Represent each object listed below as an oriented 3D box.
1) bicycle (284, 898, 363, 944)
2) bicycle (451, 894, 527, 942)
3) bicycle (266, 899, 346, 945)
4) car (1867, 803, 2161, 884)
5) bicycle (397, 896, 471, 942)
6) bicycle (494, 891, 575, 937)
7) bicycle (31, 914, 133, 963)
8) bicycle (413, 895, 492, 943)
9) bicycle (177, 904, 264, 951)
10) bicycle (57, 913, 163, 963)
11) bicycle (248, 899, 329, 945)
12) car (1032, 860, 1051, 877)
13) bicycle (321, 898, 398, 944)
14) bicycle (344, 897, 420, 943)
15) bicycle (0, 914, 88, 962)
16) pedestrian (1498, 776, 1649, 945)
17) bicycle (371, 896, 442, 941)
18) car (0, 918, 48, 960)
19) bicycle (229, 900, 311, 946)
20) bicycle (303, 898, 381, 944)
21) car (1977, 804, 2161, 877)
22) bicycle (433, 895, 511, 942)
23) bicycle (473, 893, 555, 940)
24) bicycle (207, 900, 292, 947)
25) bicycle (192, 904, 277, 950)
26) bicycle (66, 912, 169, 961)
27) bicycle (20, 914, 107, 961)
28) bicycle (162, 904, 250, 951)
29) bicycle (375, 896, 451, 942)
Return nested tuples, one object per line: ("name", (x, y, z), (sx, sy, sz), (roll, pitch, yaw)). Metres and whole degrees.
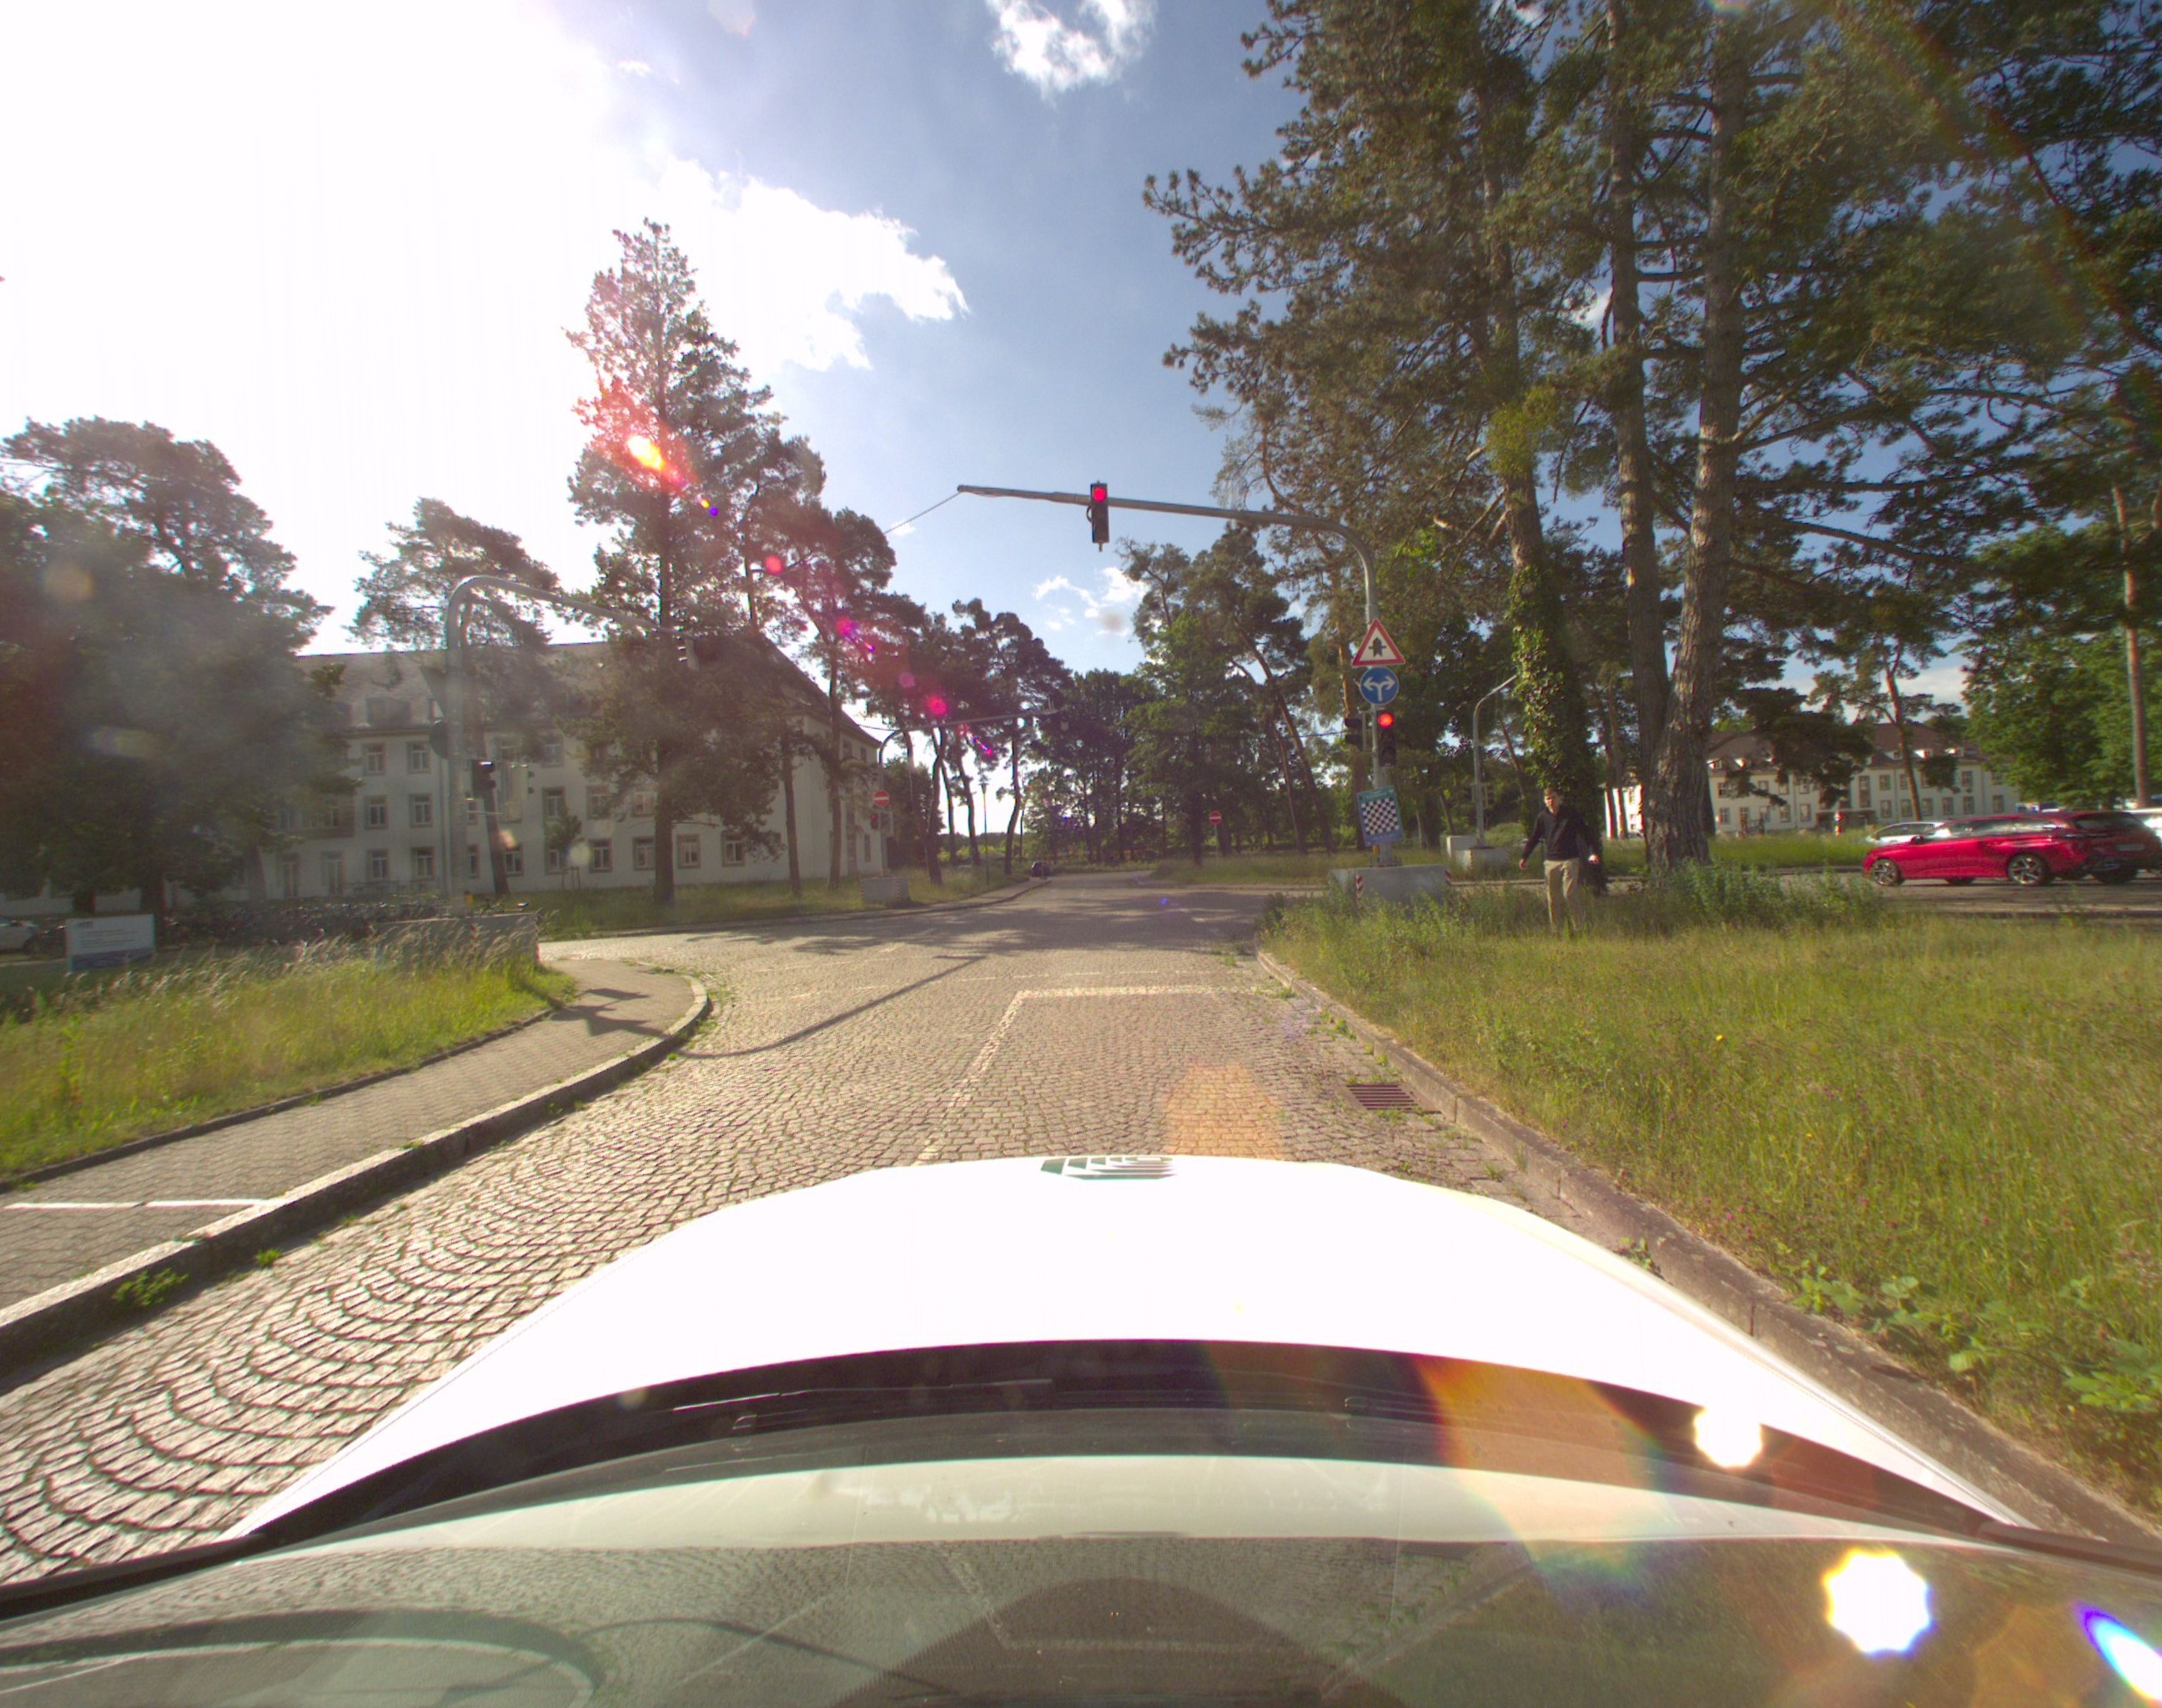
("bicycle", (-23.006, 2.025, 24.792), (0.512, 1.220, 1.954), (-3, 0, 1))
("bicycle", (-17.550, 1.871, 24.200), (0.631, 1.220, 2.114), (-3, 0, 1))
("bicycle", (-23.560, 2.041, 24.805), (0.512, 1.220, 1.937), (-3, 0, 1))
("car", (18.794, -0.152, 16.558), (1.649, 1.399, 4.130), (-2, -1, 1))
("bicycle", (-19.486, 1.929, 24.590), (0.570, 1.220, 1.990), (-3, 0, 1))
("bicycle", (-16.193, 1.766, 24.150), (1.938, 1.220, 0.635), (-3, 0, 0))
("bicycle", (-29.112, 2.439, 23.763), (0.509, 1.220, 1.841), (-3, 0, 38))
("bicycle", (-18.638, 1.903, 24.201), (0.631, 1.220, 2.104), (-3, 0, 1))
("bicycle", (-26.197, 2.209, 24.844), (0.512, 1.220, 1.937), (-3, 0, 1))
("bicycle", (-27.613, 2.360, 23.194), (1.837, 1.220, 0.510), (-3, 0, -35))
("bicycle", (-24.106, 2.057, 24.829), (0.512, 1.220, 1.937), (-3, 0, 1))
("car", (-3.917, 1.419, 80.668), (1.705, 1.496, 3.917), (-3, 0, -1))
("bicycle", (-21.962, 2.002, 24.828), (0.512, 1.220, 1.977), (-3, 0, 1))
("bicycle", (-21.313, 1.983, 24.873), (0.512, 1.220, 2.016), (-3, 0, 1))
("bicycle", (-31.056, 2.488, 24.399), (0.513, 1.220, 1.824), (-3, 0, -7))
("pedestrian", (5.702, 0.070, 9.439), (1.069, 1.796, 1.158), (-3, -1, -42))
("bicycle", (-20.796, 1.969, 25.146), (0.546, 1.220, 1.900), (-3, 0, 1))
("car", (-34.075, 2.707, 24.418), (1.504, 1.211, 3.596), (-3, 0, 3))
("bicycle", (-24.698, 2.074, 24.849), (0.512, 1.220, 1.937), (-3, 0, 1))
("bicycle", (-22.480, 2.013, 24.823), (0.512, 1.220, 1.977), (-3, 0, 1))
("car", (21.669, -0.282, 16.725), (1.773, 1.379, 4.239), (-3, -2, 0))
("bicycle", (-18.034, 1.886, 24.193), (0.631, 1.220, 2.124), (-3, 0, 1))
("bicycle", (-16.309, 1.788, 23.436), (1.855, 1.220, 0.635), (-3, 0, 0))
("bicycle", (-25.308, 2.092, 24.839), (0.512, 1.220, 1.937), (-3, 0, 1))
("bicycle", (-25.768, 2.196, 24.843), (0.512, 1.220, 1.937), (-3, 0, 1))
("bicycle", (-28.002, 2.366, 23.703), (1.837, 1.220, 0.510), (-3, 0, -35))
("bicycle", (-30.450, 2.470, 24.414), (0.514, 1.220, 1.823), (-3, 0, -9))
("bicycle", (-26.644, 2.222, 24.853), (0.512, 1.220, 1.937), (-3, 0, 1))
("bicycle", (-20.231, 1.953, 24.722), (0.576, 1.220, 2.029), (-3, 0, 1))
